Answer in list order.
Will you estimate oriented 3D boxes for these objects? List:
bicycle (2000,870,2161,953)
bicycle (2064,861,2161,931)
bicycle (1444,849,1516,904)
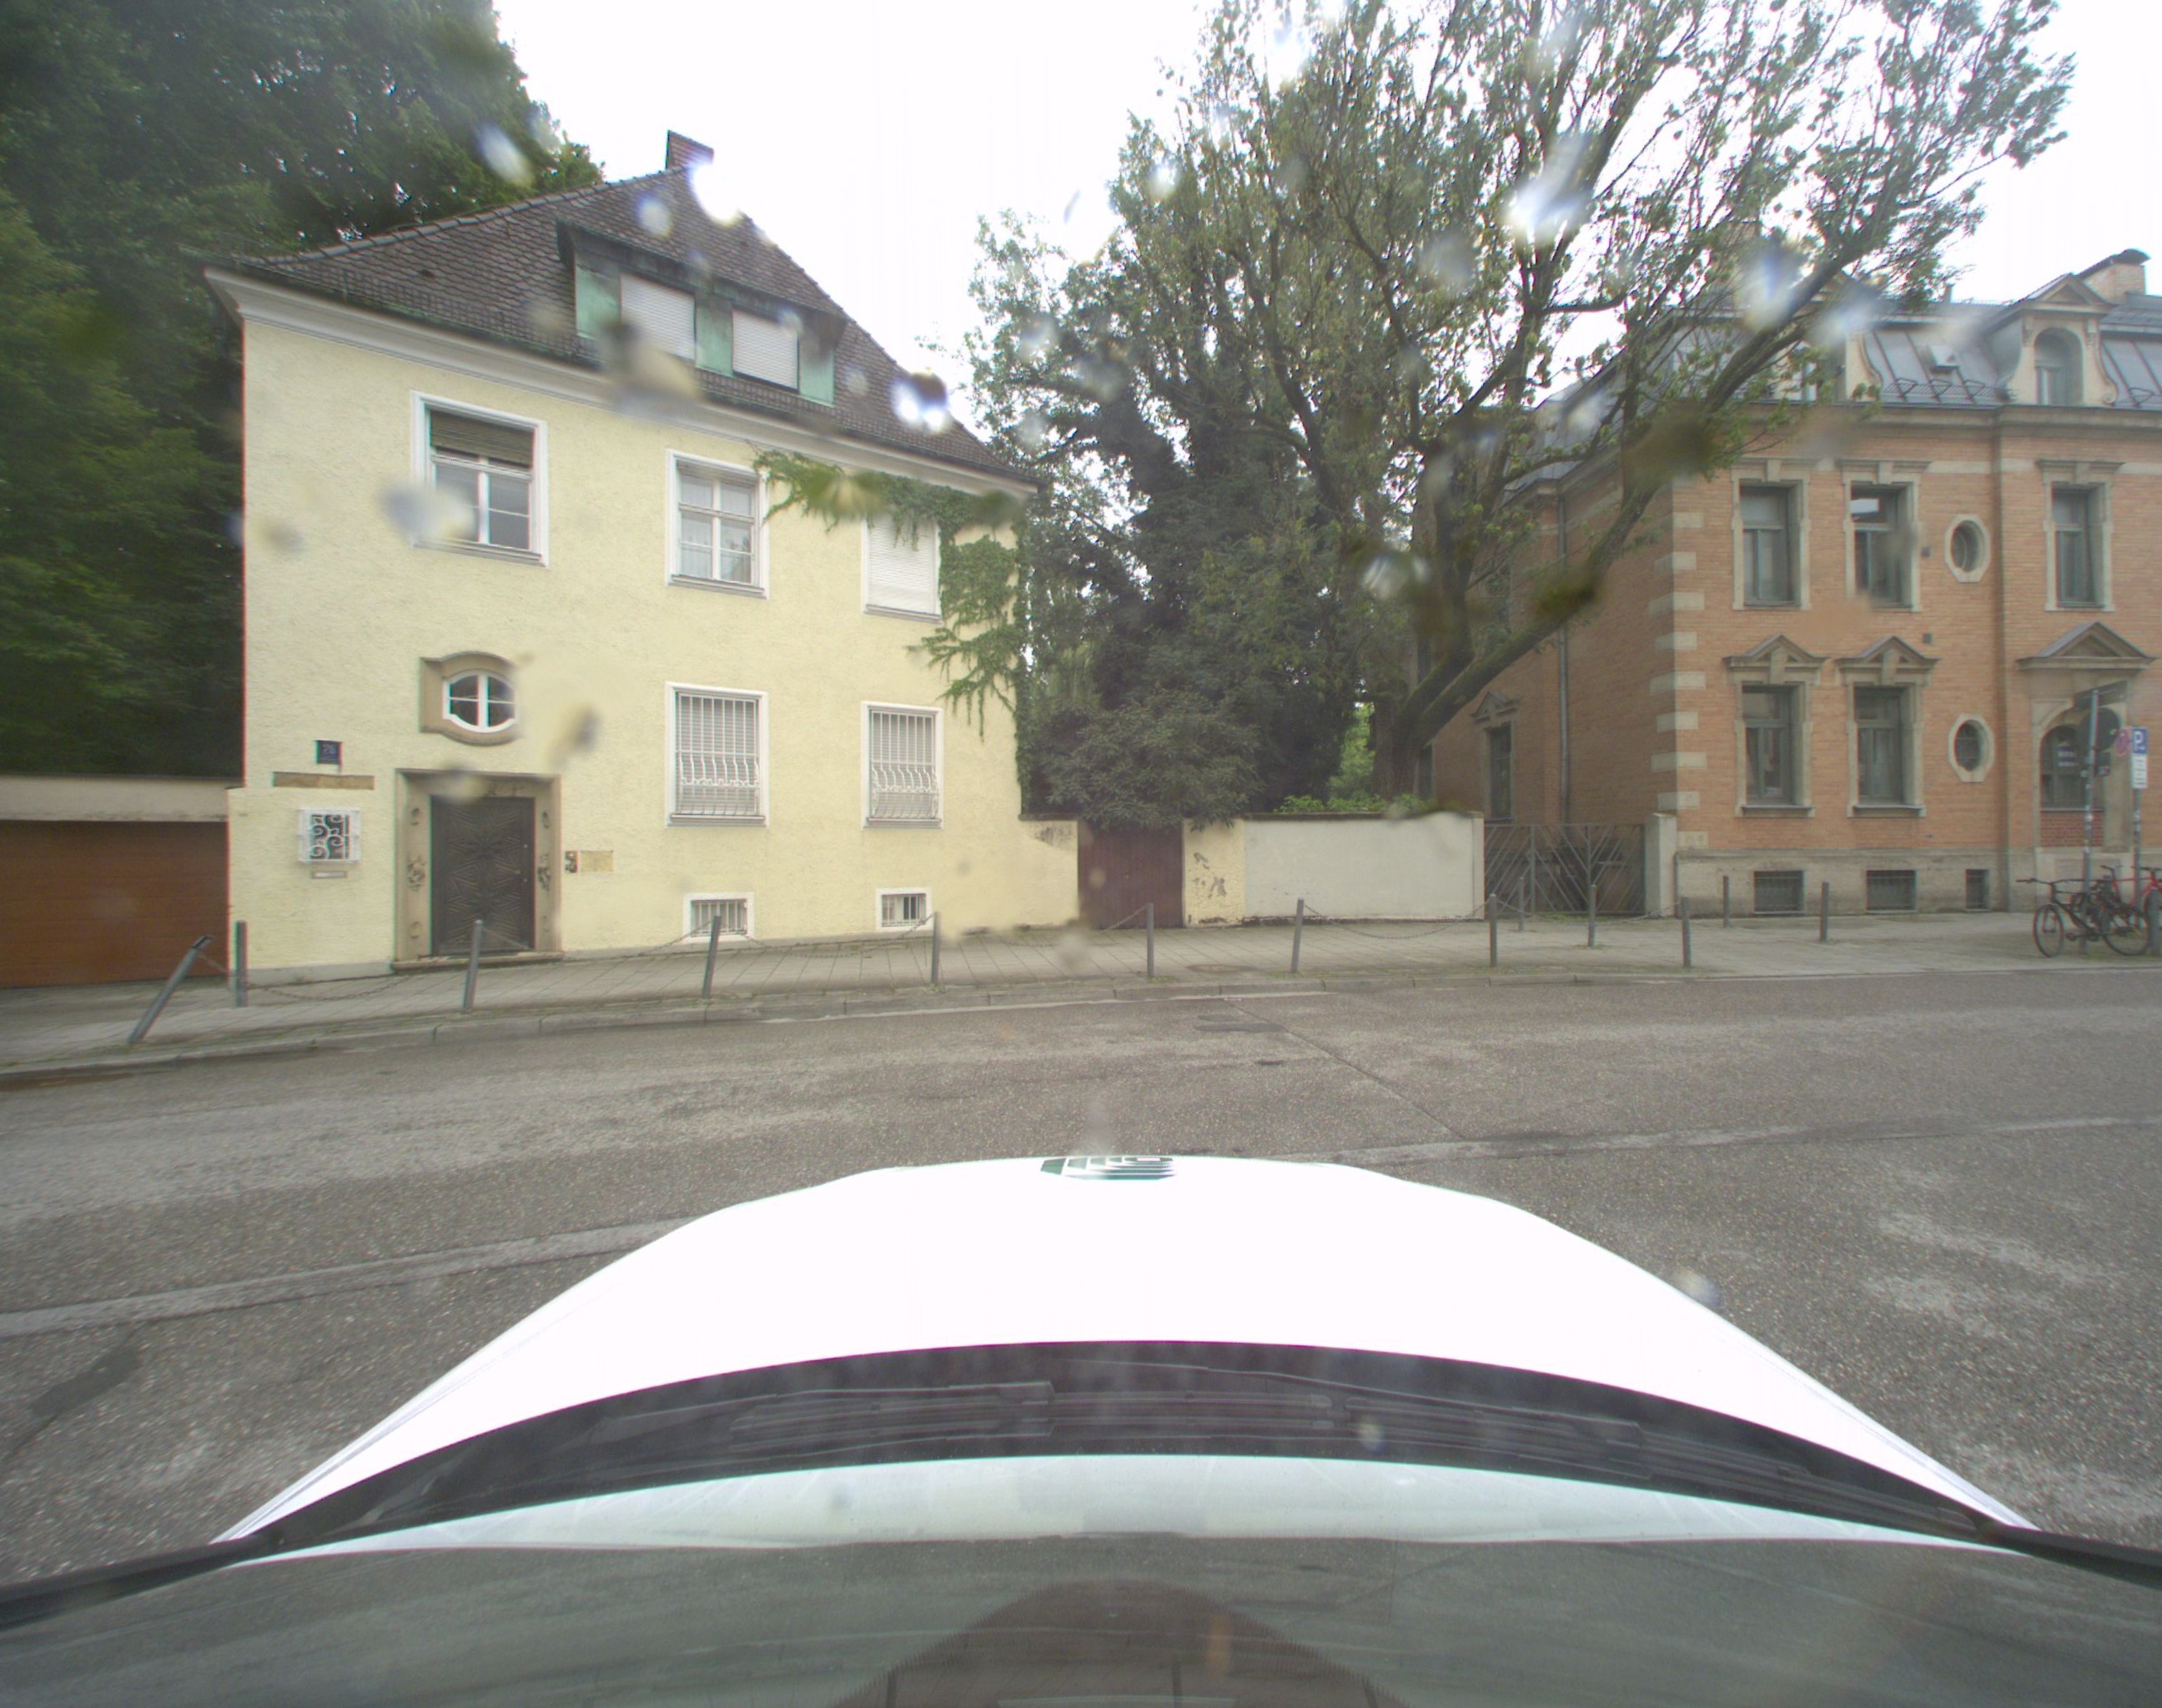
[{"bbox_3d":[13.368,0.750,10.776,1.751,1.054,0.581,0,-1,0],"label":"bicycle"},{"bbox_3d":[16.574,0.638,12.661,1.882,1.054,0.581,0,0,0],"label":"bicycle"},{"bbox_3d":[9.304,0.504,19.081,0.533,1.219,2.080,0,-1,-3],"label":"bicycle"}]
